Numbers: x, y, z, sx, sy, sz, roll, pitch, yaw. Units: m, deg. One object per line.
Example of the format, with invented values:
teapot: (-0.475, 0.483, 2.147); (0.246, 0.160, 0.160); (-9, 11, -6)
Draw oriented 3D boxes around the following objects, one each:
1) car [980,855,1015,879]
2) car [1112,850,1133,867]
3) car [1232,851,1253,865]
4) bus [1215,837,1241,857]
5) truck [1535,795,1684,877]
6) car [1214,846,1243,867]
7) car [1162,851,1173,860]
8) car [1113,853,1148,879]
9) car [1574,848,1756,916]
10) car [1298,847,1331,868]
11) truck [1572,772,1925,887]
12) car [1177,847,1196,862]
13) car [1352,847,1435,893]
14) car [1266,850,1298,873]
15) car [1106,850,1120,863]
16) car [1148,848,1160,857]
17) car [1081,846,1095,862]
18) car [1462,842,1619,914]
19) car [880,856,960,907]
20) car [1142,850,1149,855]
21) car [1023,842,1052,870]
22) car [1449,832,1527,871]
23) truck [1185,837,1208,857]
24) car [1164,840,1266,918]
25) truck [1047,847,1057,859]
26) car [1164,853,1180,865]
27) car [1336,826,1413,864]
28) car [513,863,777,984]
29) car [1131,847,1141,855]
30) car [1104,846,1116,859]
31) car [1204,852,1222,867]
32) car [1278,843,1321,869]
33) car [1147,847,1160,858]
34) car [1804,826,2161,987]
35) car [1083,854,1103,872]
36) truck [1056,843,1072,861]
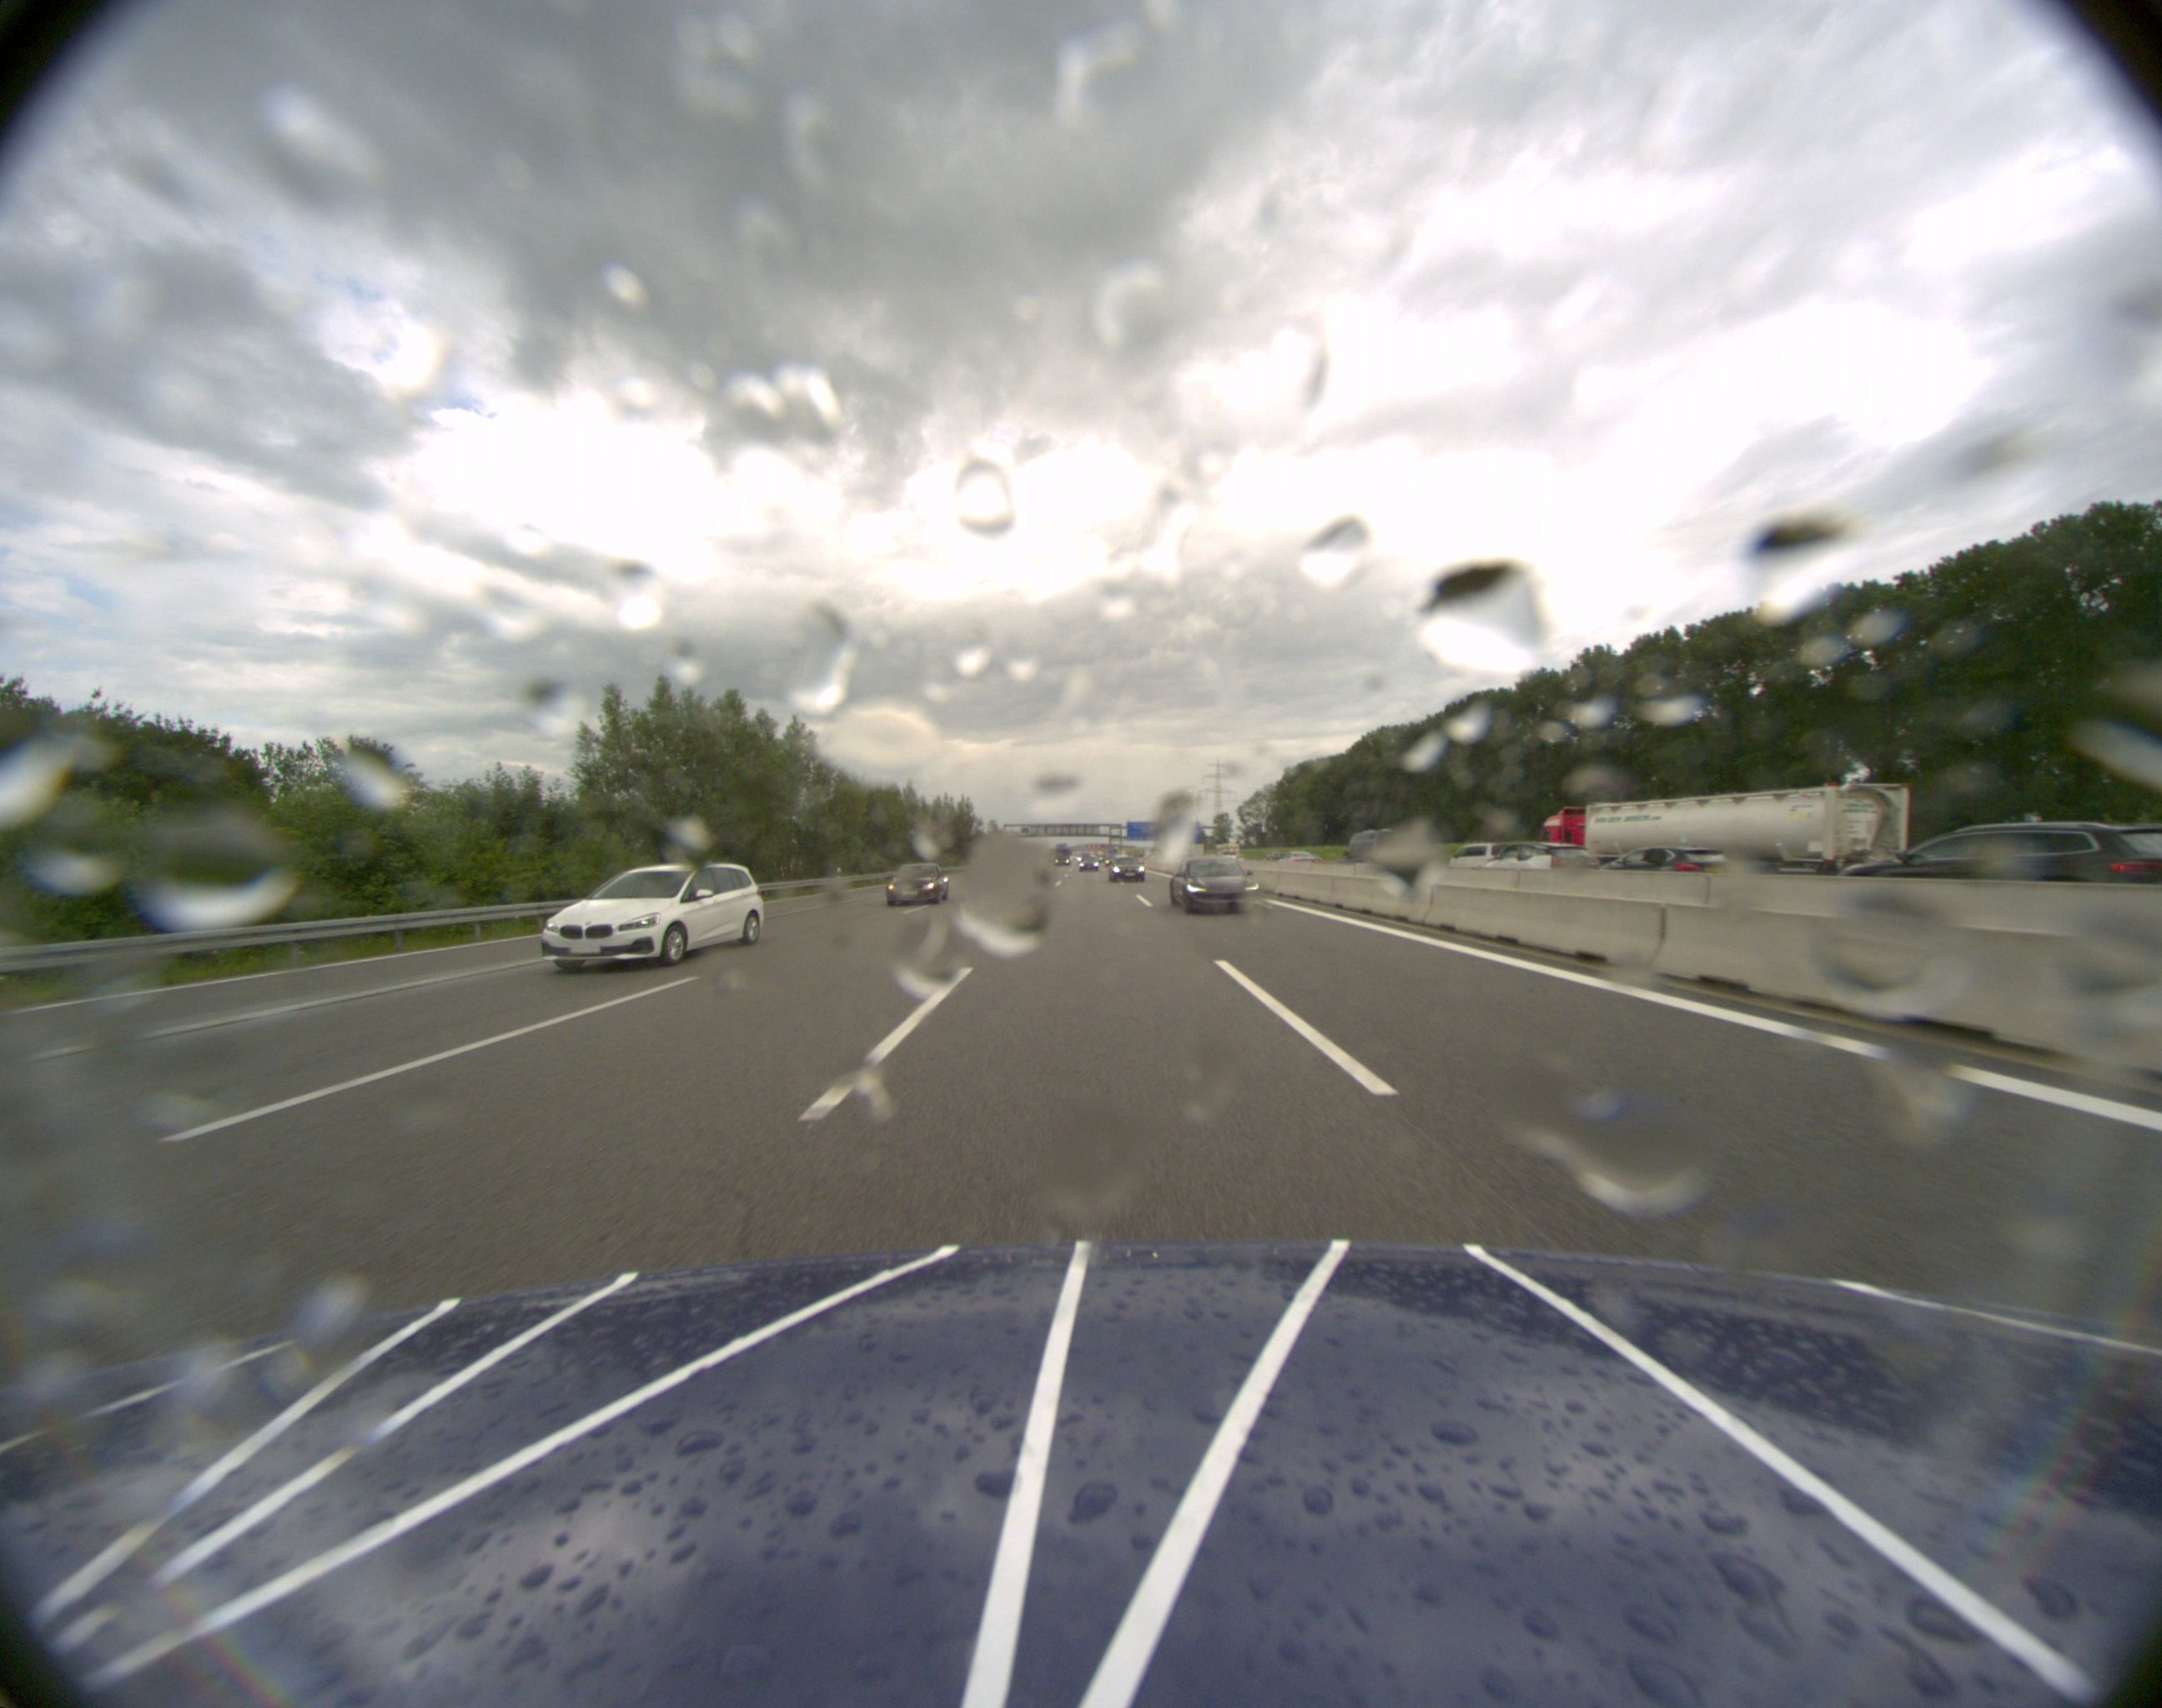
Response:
car: (-5.762, 0.857, 52.726); (1.945, 1.482, 4.774); (-2, 0, -1)
car: (4.047, 0.398, 74.517); (1.822, 1.565, 3.999); (-2, 0, 0)
car: (23.254, 0.574, 109.579); (1.999, 2.002, 4.808); (-2, 0, -1)
bus: (26.392, -1.225, 136.623); (2.838, 3.313, 9.963); (-2, 0, 1)
truck: (26.368, -0.850, 38.319); (3.158, 3.691, 6.318); (-2, 0, 1)
car: (14.455, 0.246, 74.530); (1.998, 2.002, 4.264); (-2, 0, 0)
car: (19.843, 0.373, 175.065); (1.999, 1.922, 4.637); (-2, 0, 0)
car: (2.792, 0.668, 43.426); (1.922, 1.407, 4.001); (-1, 0, 3)
car: (18.397, 0.788, 24.311); (1.998, 1.893, 4.930); (-2, 0, 0)
car: (23.538, 0.327, 76.792); (1.998, 2.002, 4.227); (-2, 0, 1)
truck: (26.331, -0.839, 31.725); (3.156, 3.723, 13.298); (-2, 0, 1)
car: (15.477, 0.063, 111.389); (1.999, 2.002, 5.181); (-2, 0, -1)
car: (14.583, 0.684, 35.737); (1.998, 1.956, 4.696); (-2, 0, 1)
car: (18.982, 0.687, 71.912); (1.998, 2.002, 4.227); (-2, 0, 1)
car: (4.201, 0.316, 99.335); (1.711, 1.621, 4.000); (-2, 0, 2)
car: (15.804, -0.264, 165.263); (1.998, 1.842, 5.077); (-1, 0, 0)
car: (1.203, -0.067, 123.678); (2.145, 2.486, 5.448); (-2, 0, 2)
car: (13.876, 0.654, 23.343); (1.998, 1.956, 4.696); (-2, 0, 1)
car: (-5.708, 0.928, 27.521); (1.711, 1.621, 4.457); (-2, 0, 2)
car: (19.257, -0.430, 226.715); (1.890, 1.610, 3.999); (-2, 0, -1)
car: (-4.022, 0.181, 71.176); (2.145, 2.486, 5.448); (-2, 0, 1)
car: (22.048, -0.145, 41.379); (1.998, 1.936, 4.212); (-2, 0, 1)
truck: (26.706, -1.633, 176.788); (3.156, 4.288, 13.949); (-2, 0, 0)
car: (3.493, 0.583, 20.822); (1.998, 1.810, 5.163); (-2, 0, 2)
truck: (-6.320, -0.203, 164.929); (1.790, 2.660, 5.768); (-2, 0, 0)
car: (14.903, 0.755, 124.872); (1.999, 1.844, 4.635); (-2, 0, -2)
car: (18.331, -0.561, 47.912); (2.265, 2.152, 6.817); (-2, 0, 1)
car: (-7.125, 1.013, 13.144); (1.815, 1.589, 4.695); (-2, 0, 0)
car: (13.601, -0.627, 186.488); (1.999, 1.887, 5.186); (-2, 0, 0)
car: (5.490, -0.288, 144.974); (2.145, 2.486, 5.448); (-2, 0, 3)
car: (19.281, 0.768, 110.958); (1.809, 2.002, 3.999); (-2, 0, -1)
car: (14.769, 0.117, 51.623); (1.808, 1.709, 4.000); (-2, 0, 1)
car: (13.953, -0.269, 146.863); (1.998, 2.002, 4.763); (-2, 0, 0)
car: (14.284, 0.610, 11.639); (1.998, 1.956, 4.696); (-2, 0, 1)
car: (1.112, 0.792, 71.235); (1.711, 1.562, 4.347); (-2, 0, 2)
truck: (-2.783, -0.271, 122.005); (2.391, 2.726, 6.592); (-2, 0, -2)
